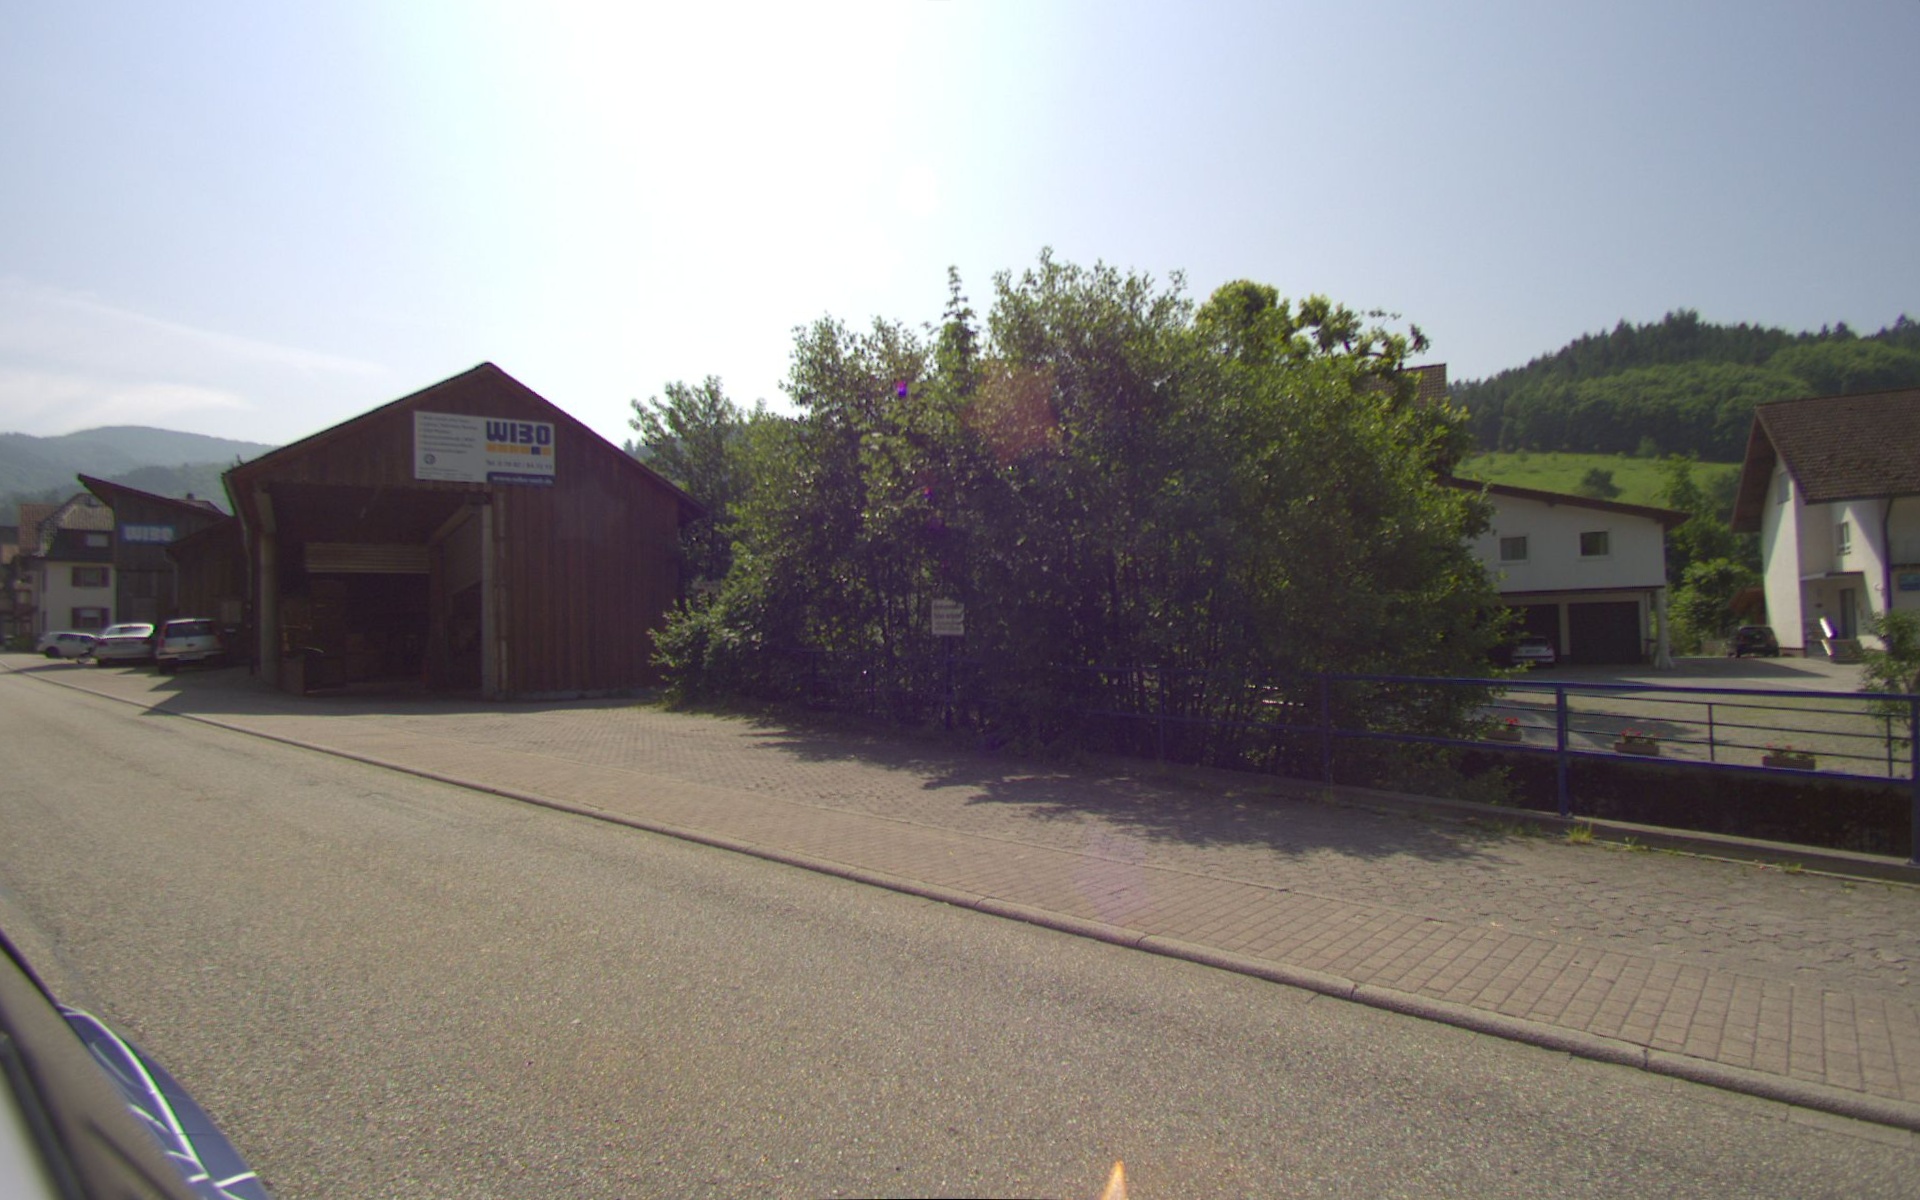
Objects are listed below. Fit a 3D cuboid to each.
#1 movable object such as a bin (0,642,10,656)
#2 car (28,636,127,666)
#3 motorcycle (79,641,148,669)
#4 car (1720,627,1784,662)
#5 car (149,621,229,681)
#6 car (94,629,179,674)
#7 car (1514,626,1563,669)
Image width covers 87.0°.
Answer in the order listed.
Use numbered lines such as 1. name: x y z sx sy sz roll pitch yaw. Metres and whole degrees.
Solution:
1. movable object such as a bin: -71.607 3.682 75.768 0.621 1.075 0.668 -2 -3 43
2. car: -47.278 2.733 54.310 3.608 1.396 1.716 5 -5 -29
3. motorcycle: -39.503 2.536 47.285 2.376 1.274 0.745 1 -3 -35
4. car: 36.602 2.034 46.842 1.609 1.477 3.285 -1 -1 25
5. car: -23.065 1.496 30.402 1.559 1.582 4.034 -3 0 -33
6. car: -29.631 1.860 36.540 1.705 1.465 4.818 0 -3 -31
7. car: 25.183 2.034 44.162 1.757 1.689 3.766 -1 -1 29
